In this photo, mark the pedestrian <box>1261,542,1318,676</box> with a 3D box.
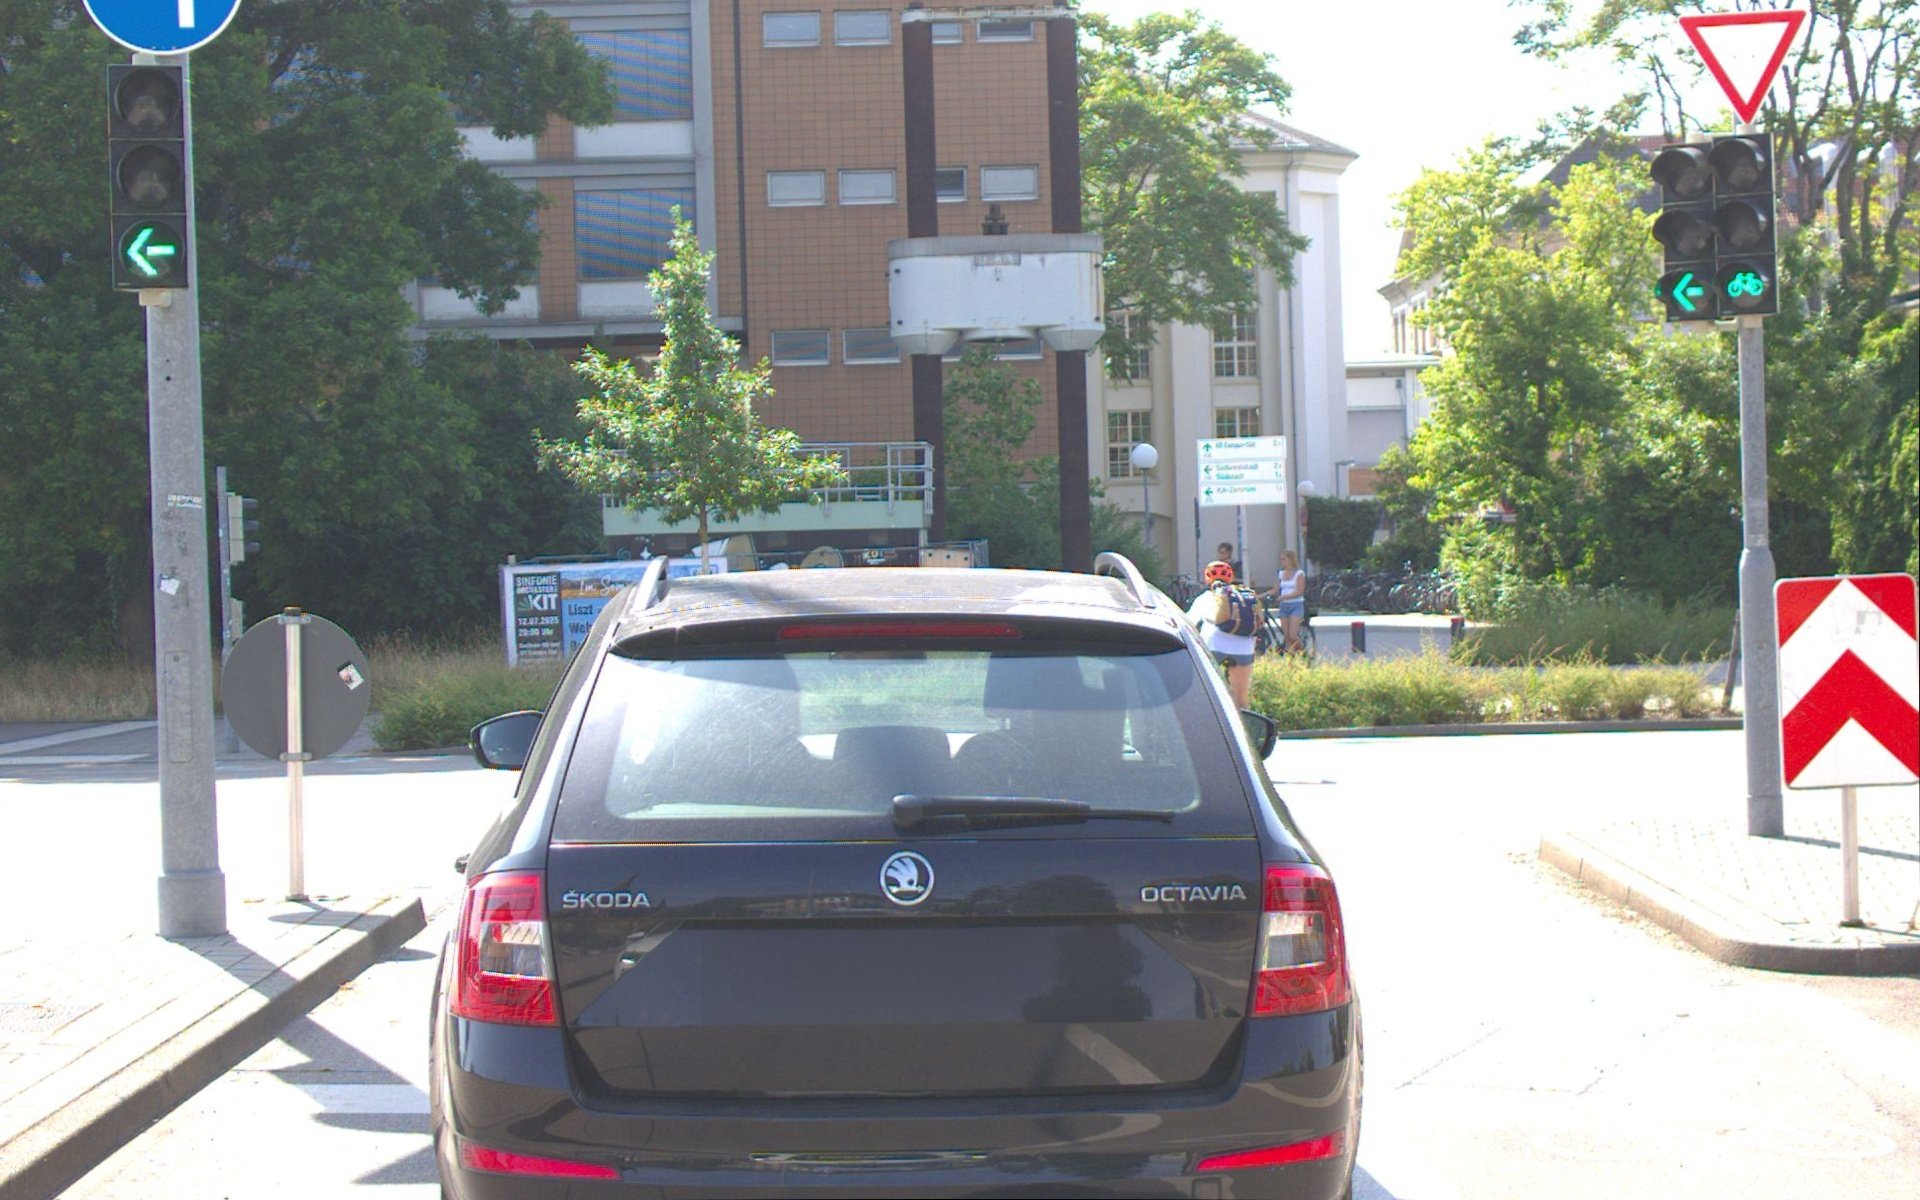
[{"bbox_3d":[4.754,0.123,49.576,0.637,1.868,0.796,-3,1,-1],"label":"pedestrian"}]

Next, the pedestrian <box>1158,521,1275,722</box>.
[{"bbox_3d":[1.905,0.155,25.619,0.583,1.461,1.014,0,0,-13],"label":"pedestrian"}]

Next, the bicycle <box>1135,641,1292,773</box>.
[{"bbox_3d":[1.878,0.782,25.793,0.596,0.928,2.029,0,0,-13],"label":"bicycle"}]

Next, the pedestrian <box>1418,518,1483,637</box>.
[{"bbox_3d":[7.902,-0.365,55.384,0.795,1.868,0.638,-3,1,24],"label":"pedestrian"}]

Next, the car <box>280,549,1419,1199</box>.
[{"bbox_3d":[-0.178,0.617,7.286,1.780,1.438,3.818,0,1,0],"label":"car"}]

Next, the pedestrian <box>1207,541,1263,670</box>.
[{"bbox_3d":[4.051,0.074,50.638,0.597,1.868,0.638,-2,1,23],"label":"pedestrian"}]
